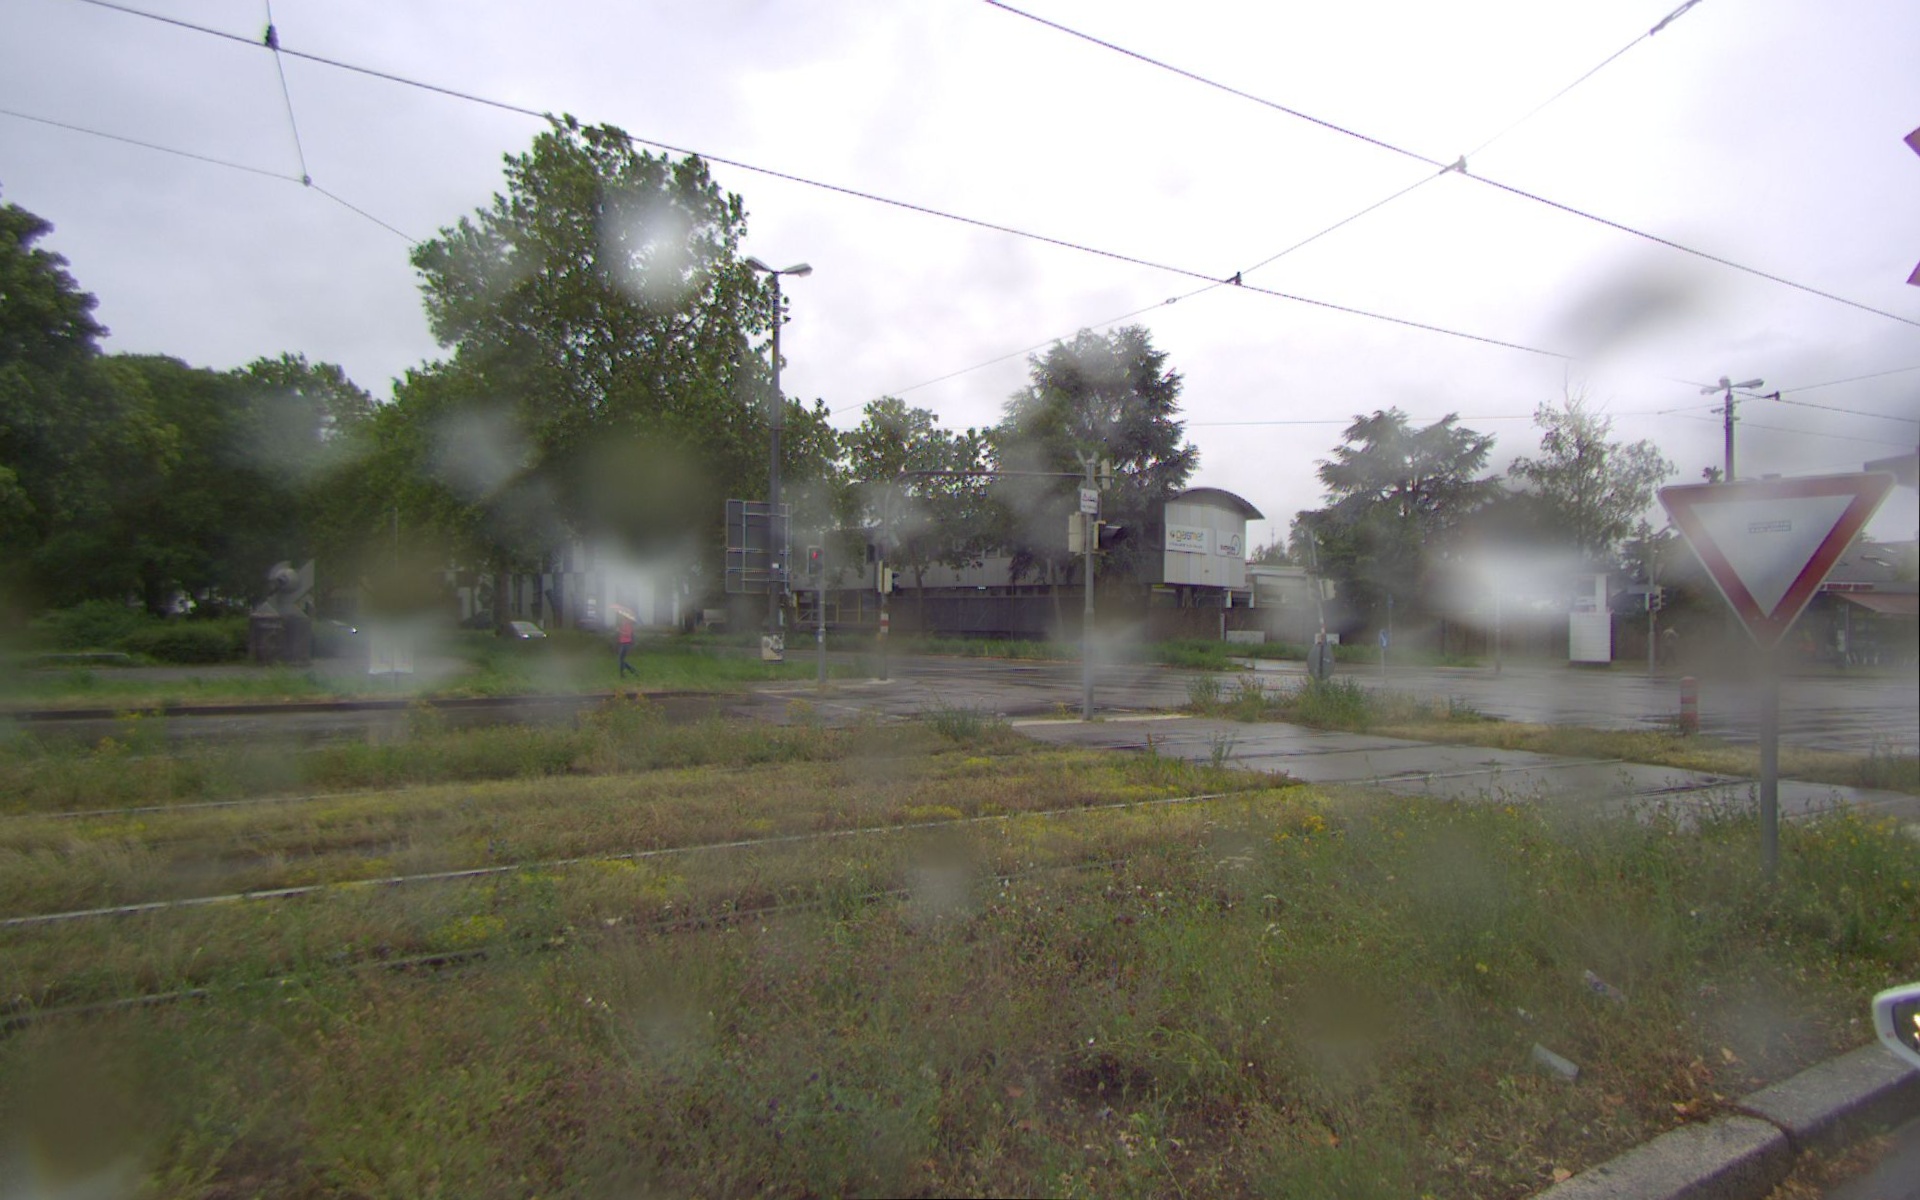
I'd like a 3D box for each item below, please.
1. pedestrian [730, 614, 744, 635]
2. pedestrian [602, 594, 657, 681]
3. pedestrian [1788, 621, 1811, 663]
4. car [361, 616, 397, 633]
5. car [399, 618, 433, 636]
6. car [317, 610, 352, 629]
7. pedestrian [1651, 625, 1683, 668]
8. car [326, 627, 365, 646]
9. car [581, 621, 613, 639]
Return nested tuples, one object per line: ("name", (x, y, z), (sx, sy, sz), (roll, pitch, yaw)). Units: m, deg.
("pedestrian", (-18.173, 1.995, 81.737), (0.810, 1.690, 0.672), (2, 0, 27))
("pedestrian", (-7.916, 0.891, 24.062), (0.998, 2.017, 0.945), (2, 0, -34))
("pedestrian", (41.415, 2.065, 49.531), (0.788, 2.040, 0.717), (2, 0, -41))
("car", (-65.883, 2.756, 113.873), (3.934, 1.806, 1.993), (2, 0, 36))
("car", (-59.763, 2.984, 110.250), (3.940, 1.806, 1.990), (2, 0, 41))
("car", (-75.283, 2.360, 120.880), (3.932, 2.116, 2.123), (2, 0, 33))
("pedestrian", (30.832, 2.018, 43.798), (0.872, 1.821, 0.724), (1, 1, -16))
("car", (-47.183, 2.847, 77.096), (1.792, 1.425, 4.405), (2, -3, -42))
("car", (-32.596, 2.670, 90.222), (1.661, 1.417, 4.130), (2, 0, -6))
